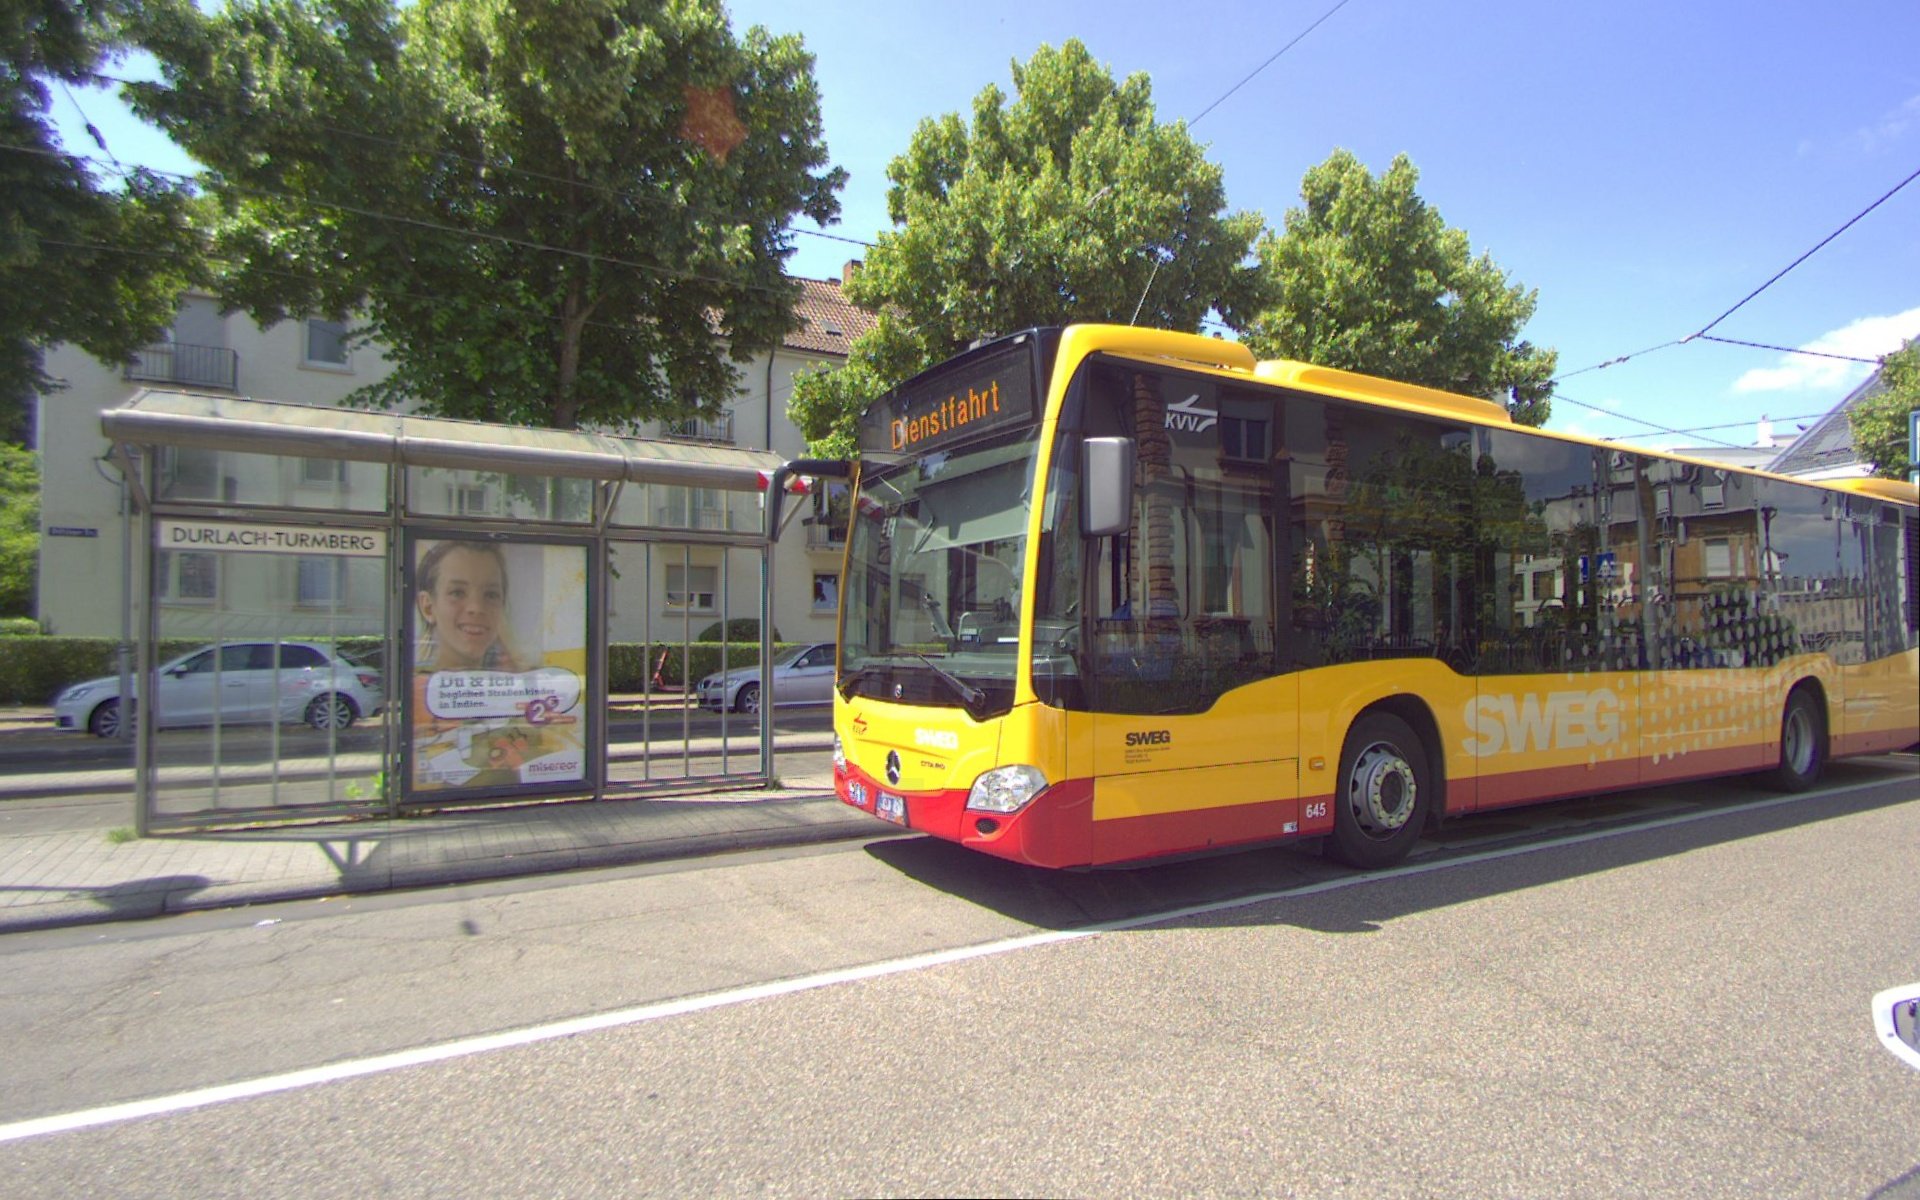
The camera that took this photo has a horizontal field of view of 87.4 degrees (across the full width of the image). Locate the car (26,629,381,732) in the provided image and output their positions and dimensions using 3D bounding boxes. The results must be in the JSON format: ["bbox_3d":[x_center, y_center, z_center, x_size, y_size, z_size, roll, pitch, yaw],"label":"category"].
[{"bbox_3d":[-10.851,1.163,14.803,3.954,1.290,1.560,3,-1,-30],"label":"car"}]

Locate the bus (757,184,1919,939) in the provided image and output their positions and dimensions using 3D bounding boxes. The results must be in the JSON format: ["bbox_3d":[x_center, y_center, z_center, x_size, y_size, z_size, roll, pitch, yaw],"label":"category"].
[{"bbox_3d":[4.509,0.012,8.725,11.980,3.291,2.892,2,0,-31],"label":"bus"}]

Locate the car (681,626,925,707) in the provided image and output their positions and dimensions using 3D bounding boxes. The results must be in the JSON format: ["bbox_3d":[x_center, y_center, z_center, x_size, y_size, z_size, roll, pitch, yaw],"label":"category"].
[{"bbox_3d":[-3.012,1.303,19.544,4.351,1.375,1.685,3,-1,-31],"label":"car"}]

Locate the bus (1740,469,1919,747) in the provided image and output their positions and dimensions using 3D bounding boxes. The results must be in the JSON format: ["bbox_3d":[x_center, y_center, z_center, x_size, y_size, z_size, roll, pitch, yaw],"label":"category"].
[{"bbox_3d":[16.809,0.169,14.322,12.113,3.251,2.777,1,0,-19],"label":"bus"}]
